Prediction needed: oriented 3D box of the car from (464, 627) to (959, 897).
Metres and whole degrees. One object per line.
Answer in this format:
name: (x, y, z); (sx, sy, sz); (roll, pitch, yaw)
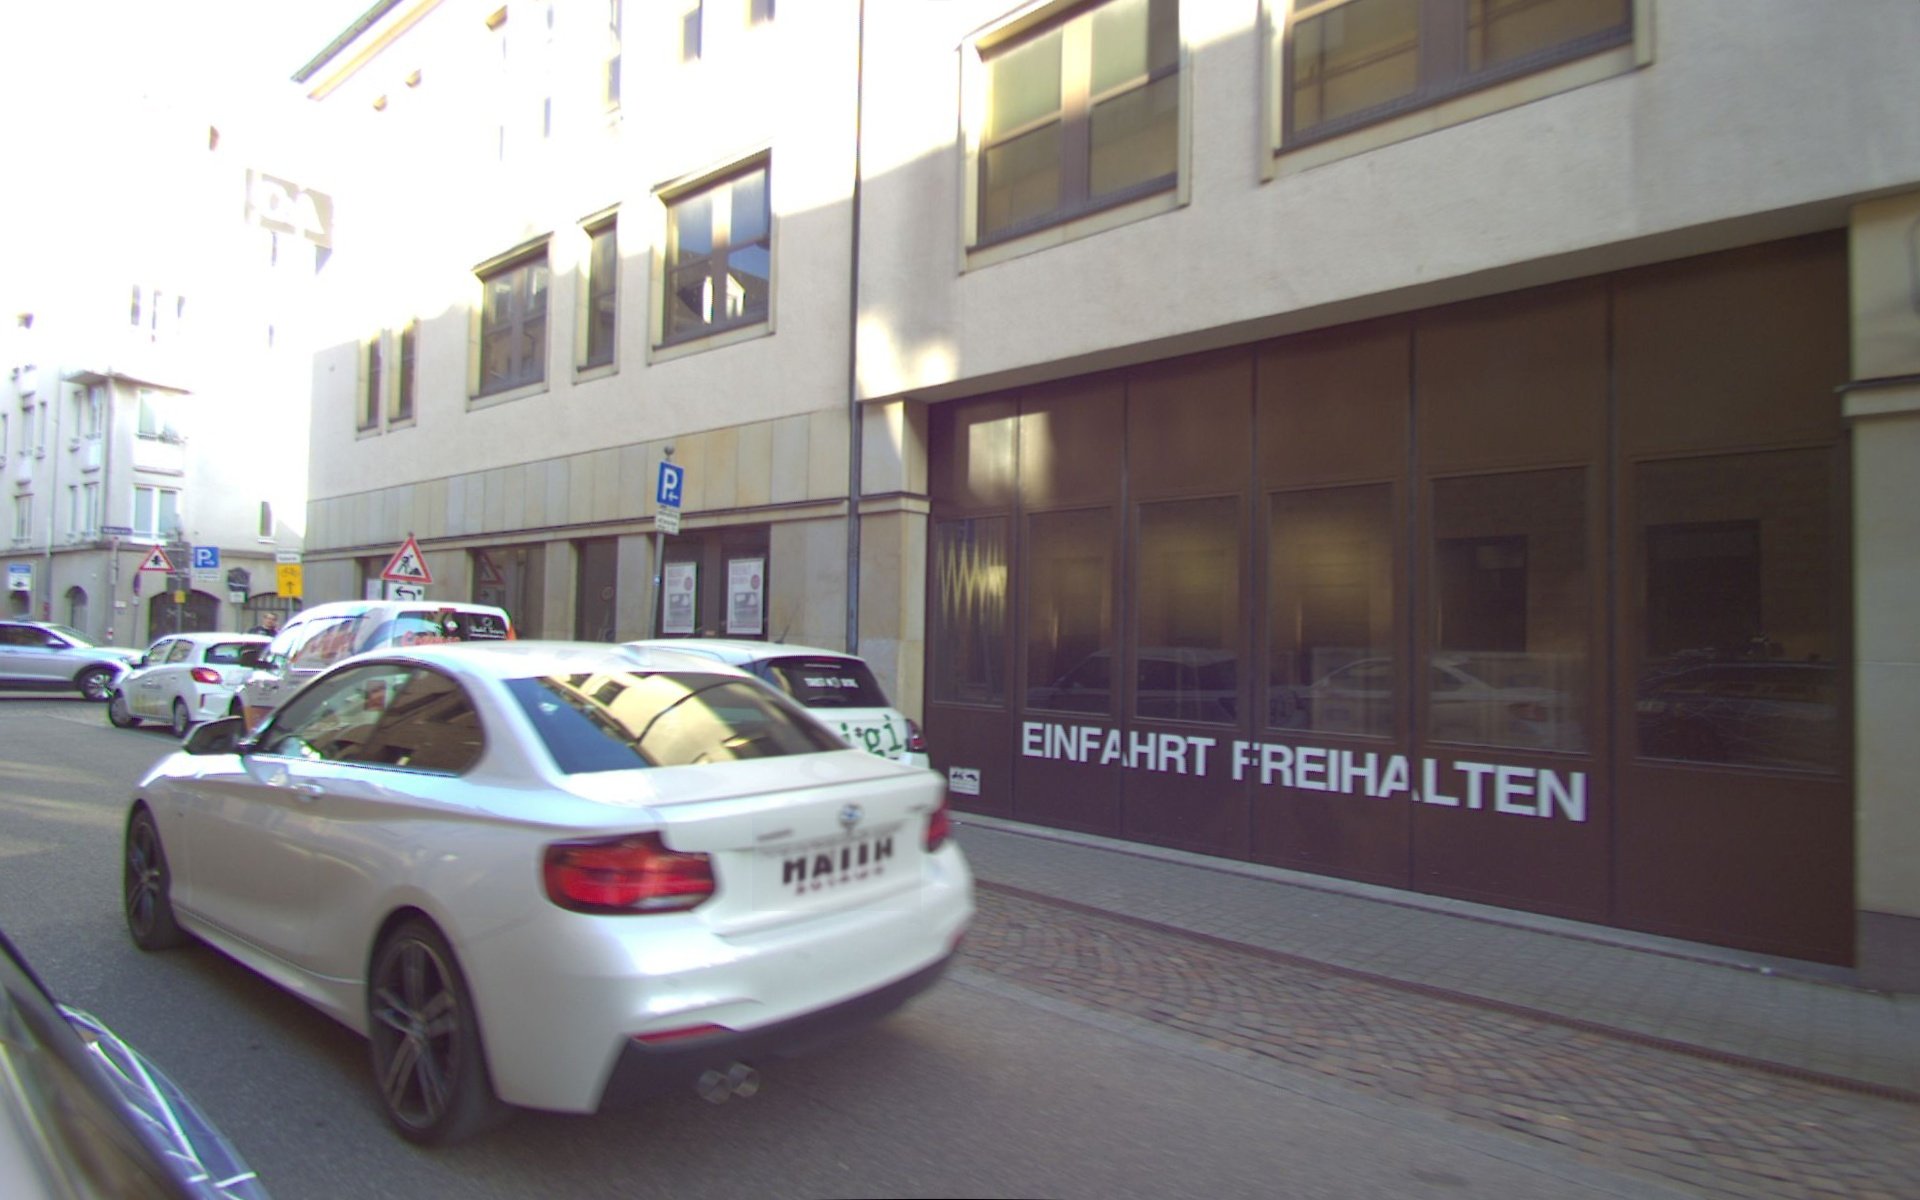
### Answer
car: (-2.002, 1.024, 7.660); (3.772, 1.534, 1.653); (-1, -5, 39)

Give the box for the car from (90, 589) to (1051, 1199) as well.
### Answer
car: (-1.845, 0.811, 4.103); (4.154, 1.529, 1.698); (-1, -4, 38)

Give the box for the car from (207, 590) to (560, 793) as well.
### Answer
car: (-6.732, 0.945, 11.604); (4.729, 1.872, 1.880); (-1, -5, 40)

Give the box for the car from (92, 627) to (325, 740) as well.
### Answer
car: (-11.491, 1.214, 15.418); (3.792, 1.504, 1.721); (-1, -5, 36)

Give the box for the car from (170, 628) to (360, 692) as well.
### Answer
car: (-18.990, 1.632, 27.803); (1.741, 1.605, 3.918); (0, -3, 38)

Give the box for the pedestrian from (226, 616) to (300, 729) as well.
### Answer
pedestrian: (-12.043, 1.238, 17.486); (0.860, 1.868, 0.707); (0, -4, 37)

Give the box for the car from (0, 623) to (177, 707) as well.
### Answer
car: (-18.154, 1.260, 19.939); (3.930, 1.558, 1.770); (3, -3, -25)
